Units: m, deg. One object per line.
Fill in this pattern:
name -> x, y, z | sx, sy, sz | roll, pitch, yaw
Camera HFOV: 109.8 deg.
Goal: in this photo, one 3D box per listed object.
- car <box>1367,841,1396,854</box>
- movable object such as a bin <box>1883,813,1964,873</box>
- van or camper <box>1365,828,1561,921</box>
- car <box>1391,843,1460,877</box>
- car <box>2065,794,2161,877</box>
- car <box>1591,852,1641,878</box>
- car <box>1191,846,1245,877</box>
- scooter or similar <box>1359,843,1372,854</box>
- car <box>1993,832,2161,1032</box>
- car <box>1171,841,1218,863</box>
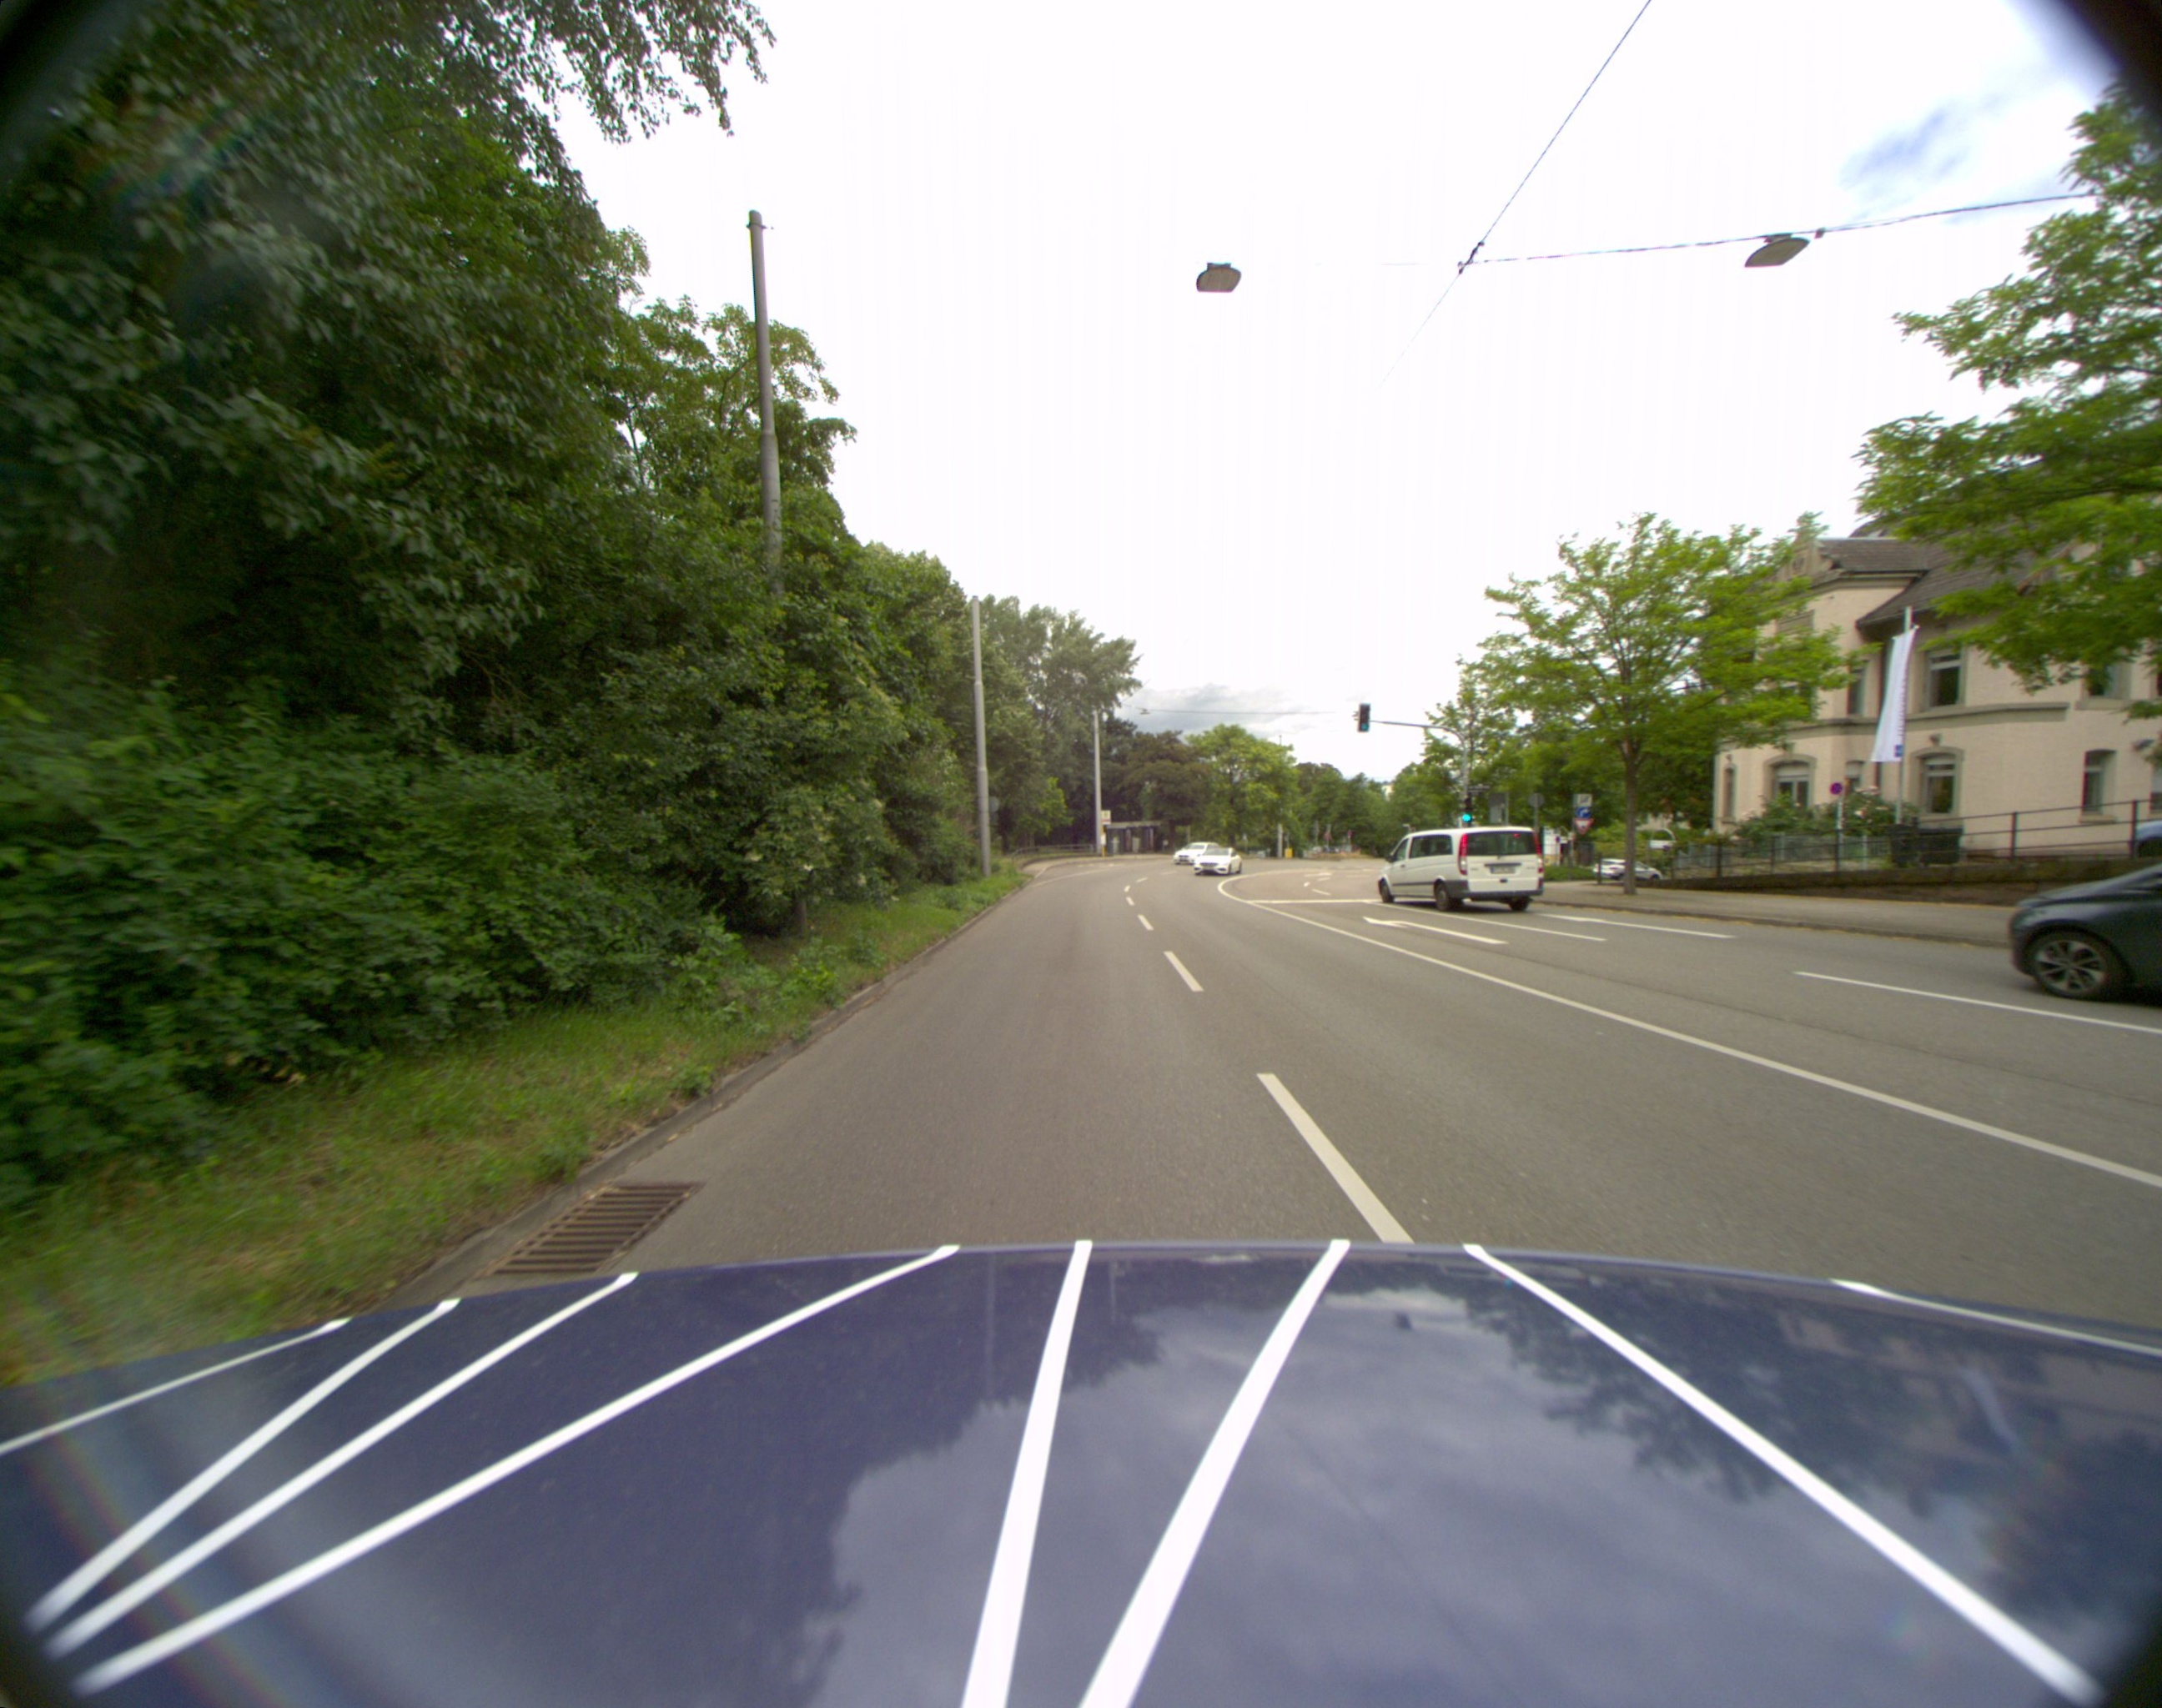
car -> 46.196, -0.960, 116.670 | 4.724, 1.893, 1.994 | 1, 2, -39
movable object such as a bin -> 25.510, -0.327, 23.047 | 1.217, 1.674, 0.997 | -5, 0, 16
van or camper -> 8.989, 0.405, 18.570 | 1.998, 1.884, 5.456 | -2, 1, 0
car -> 19.867, 0.336, 43.697 | 4.769, 1.781, 1.896 | 0, 2, -43
car -> 21.970, -0.454, 14.186 | 1.998, 1.564, 4.004 | -3, -3, 5
car -> 36.657, 0.746, 52.057 | 4.385, 1.645, 1.896 | 0, 2, -43
car -> 7.229, 0.343, 39.809 | 1.995, 1.390, 4.235 | 2, 2, 21
scooter or similar -> 33.664, -0.662, 89.873 | 1.317, 1.241, 0.464 | 2, 2, 11
car -> 9.332, 0.586, 4.950 | 1.998, 1.512, 3.990 | -2, 0, 1
car -> 7.693, -0.138, 51.369 | 1.892, 1.455, 4.007 | 1, 1, 28
